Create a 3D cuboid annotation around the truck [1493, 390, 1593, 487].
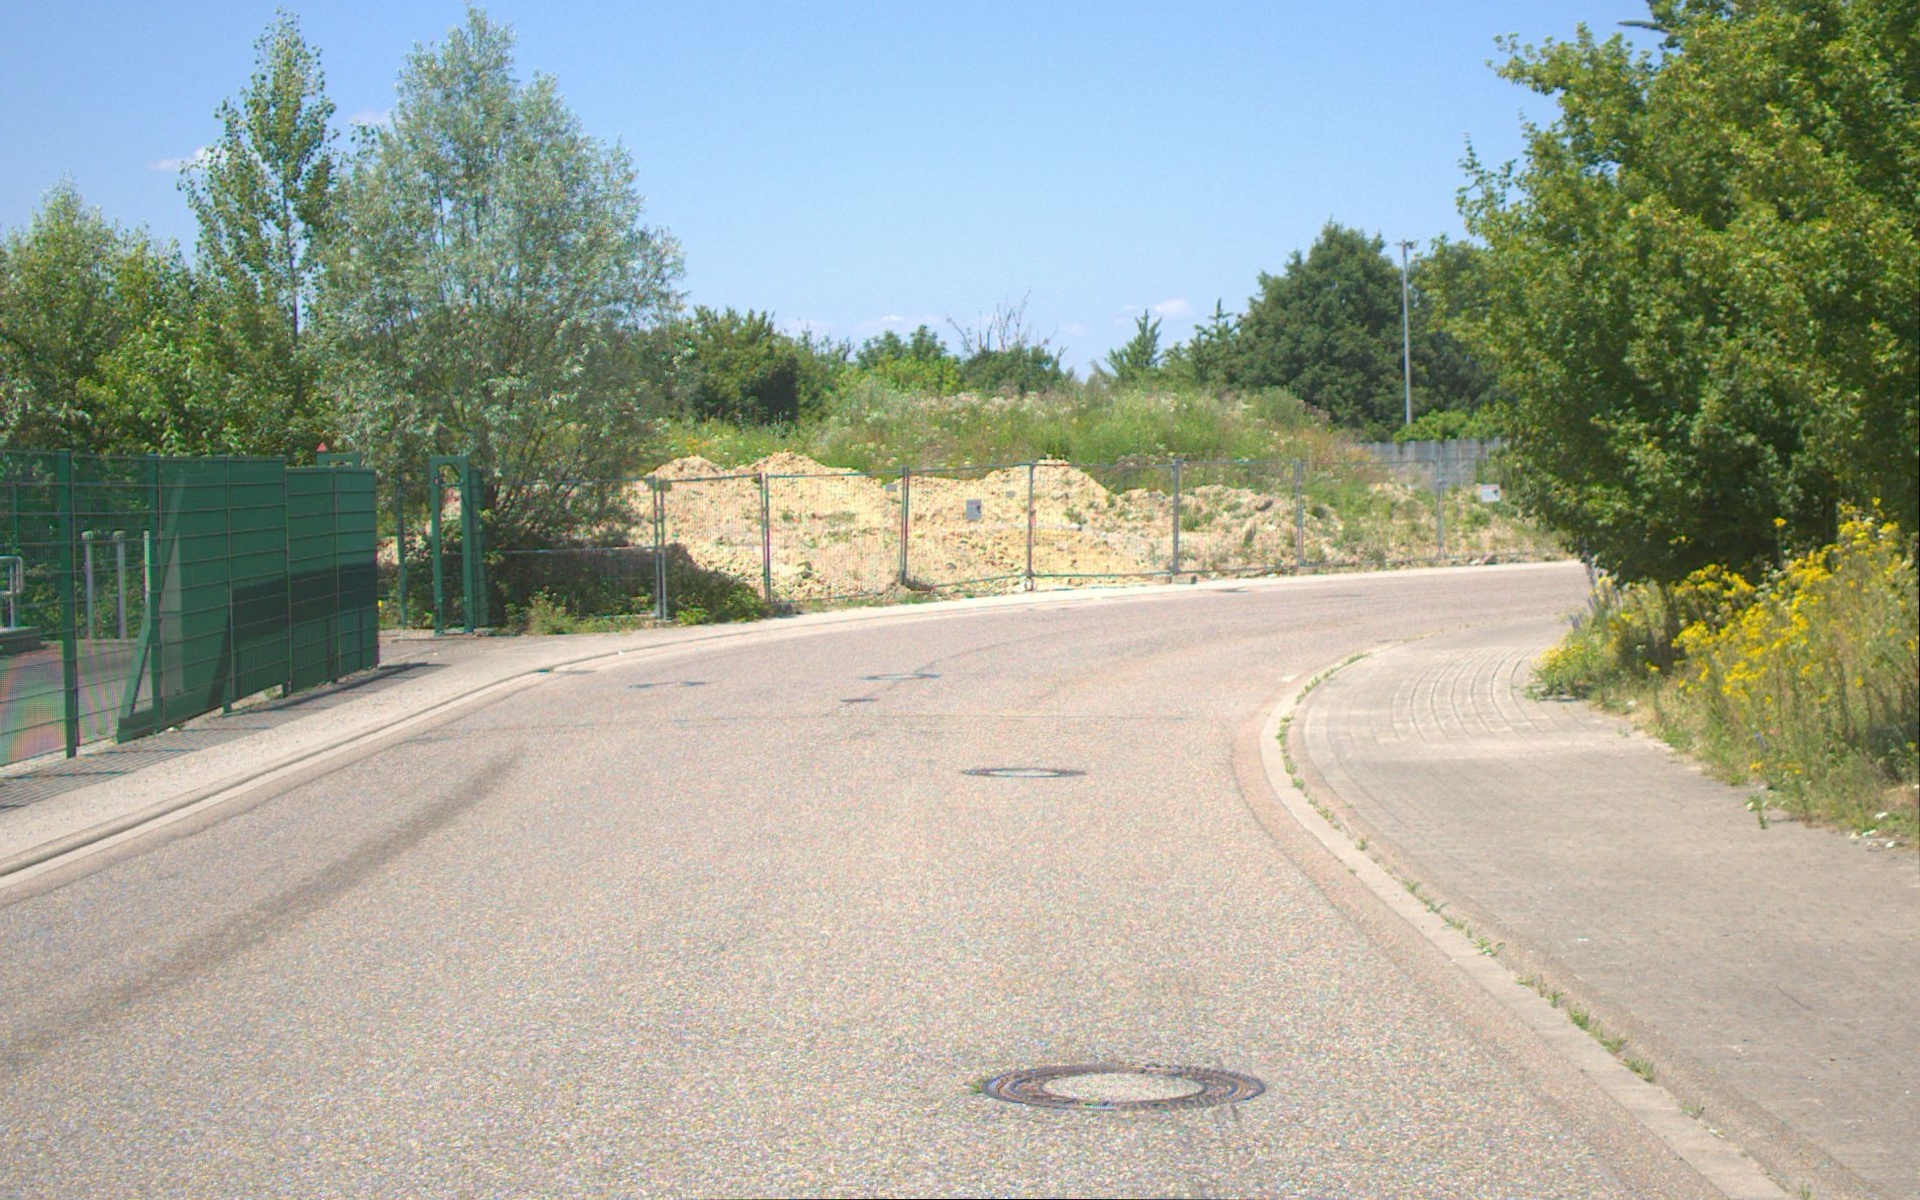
[{"bbox_3d":[18.942,-5.224,111.863,1.993,2.974,4.646,-2,2,-5],"label":"truck"}]
